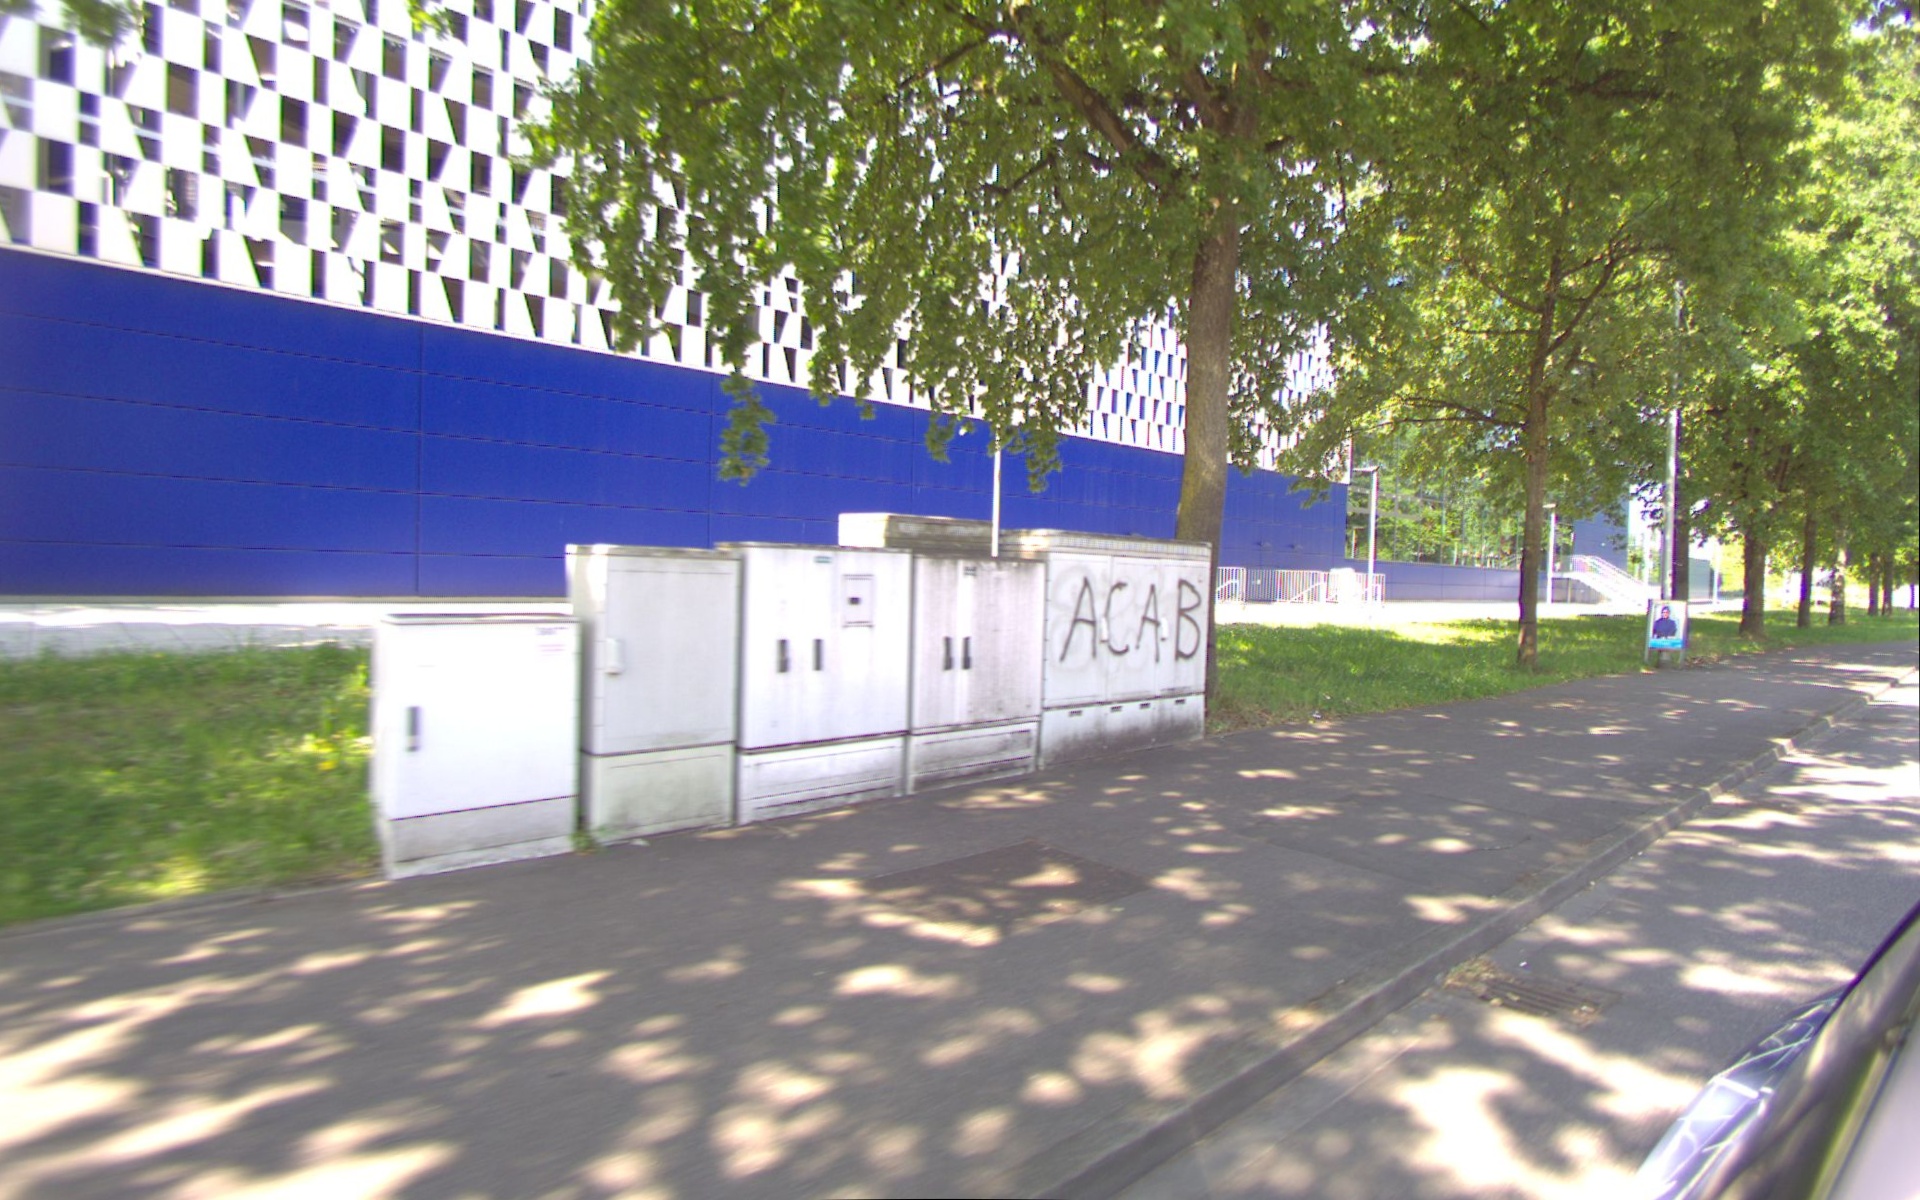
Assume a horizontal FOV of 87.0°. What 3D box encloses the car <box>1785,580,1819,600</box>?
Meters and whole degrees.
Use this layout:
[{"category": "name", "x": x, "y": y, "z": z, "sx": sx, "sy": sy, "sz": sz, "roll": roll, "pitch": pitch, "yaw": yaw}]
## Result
[{"category": "car", "x": 84.825, "y": -1.014, "z": 101.928, "sx": 4.106, "sy": 1.851, "sz": 1.910, "roll": 0, "pitch": 2, "yaw": -40}]
